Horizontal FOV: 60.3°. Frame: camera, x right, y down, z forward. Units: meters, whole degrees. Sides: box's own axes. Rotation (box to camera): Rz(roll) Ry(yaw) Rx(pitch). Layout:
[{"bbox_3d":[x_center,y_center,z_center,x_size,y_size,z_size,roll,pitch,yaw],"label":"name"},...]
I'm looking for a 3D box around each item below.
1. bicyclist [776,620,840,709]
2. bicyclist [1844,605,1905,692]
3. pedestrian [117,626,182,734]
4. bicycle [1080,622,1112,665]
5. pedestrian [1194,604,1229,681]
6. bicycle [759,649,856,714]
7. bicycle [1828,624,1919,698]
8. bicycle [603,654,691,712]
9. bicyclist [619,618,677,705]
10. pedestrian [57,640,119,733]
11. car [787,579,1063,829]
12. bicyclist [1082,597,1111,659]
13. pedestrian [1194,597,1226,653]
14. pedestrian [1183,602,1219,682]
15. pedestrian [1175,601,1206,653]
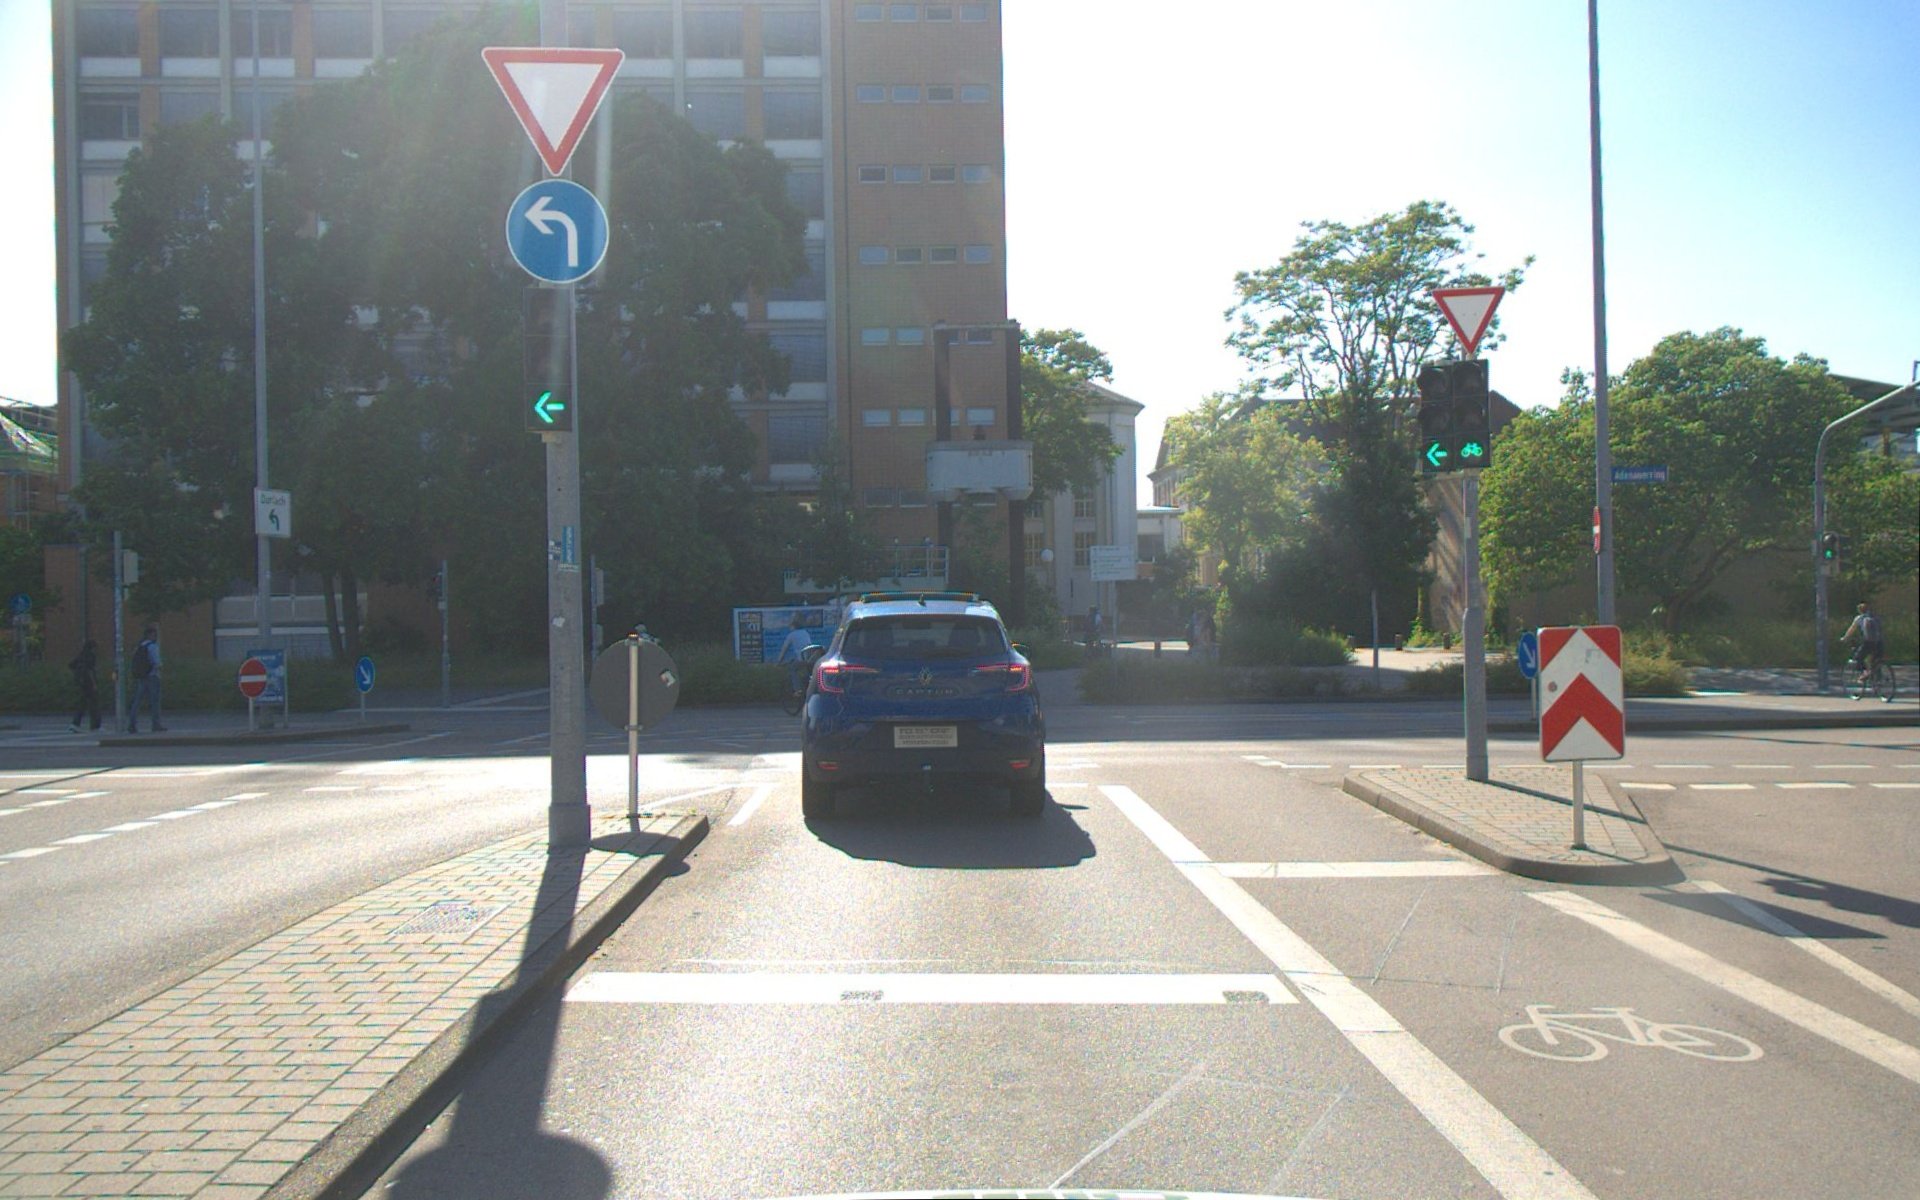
[{"bbox_3d":[-2.907,1.221,31.603,0.958,1.645,0.719,-1,-1,36],"label":"bicyclist"},{"bbox_3d":[16.098,0.840,29.127,0.628,1.469,0.777,-2,1,0],"label":"bicyclist"},{"bbox_3d":[-14.313,1.404,29.232,0.740,1.865,1.093,-1,-2,-9],"label":"pedestrian"},{"bbox_3d":[3.911,1.230,47.440,0.730,1.185,1.872,-1,0,10],"label":"bicycle"},{"bbox_3d":[6.005,1.017,39.549,0.718,1.813,0.732,1,-1,16],"label":"pedestrian"},{"bbox_3d":[-2.923,1.543,31.597,1.833,1.185,0.716,-1,-1,36],"label":"bicycle"},{"bbox_3d":[16.108,1.057,29.156,0.628,1.185,1.870,-2,1,0],"label":"bicycle"},{"bbox_3d":[-6.654,1.750,35.114,1.831,1.185,0.746,-1,-1,34],"label":"bicycle"},{"bbox_3d":[-6.621,1.294,35.089,0.957,1.793,0.720,-1,-1,34],"label":"bicyclist"},{"bbox_3d":[-15.711,1.550,29.807,0.702,1.640,0.682,-2,-1,13],"label":"pedestrian"},{"bbox_3d":[-0.277,0.712,13.182,1.839,1.646,3.796,-2,0,-1],"label":"car"},{"bbox_3d":[3.916,0.794,47.460,0.704,1.765,0.978,-1,-1,9],"label":"bicyclist"},{"bbox_3d":[7.573,0.748,50.168,0.665,1.672,0.731,0,-1,41],"label":"pedestrian"},{"bbox_3d":[5.658,0.986,38.761,0.718,1.848,0.732,1,-1,16],"label":"pedestrian"},{"bbox_3d":[7.395,0.861,53.087,0.730,1.672,0.667,2,-1,-43],"label":"pedestrian"}]
